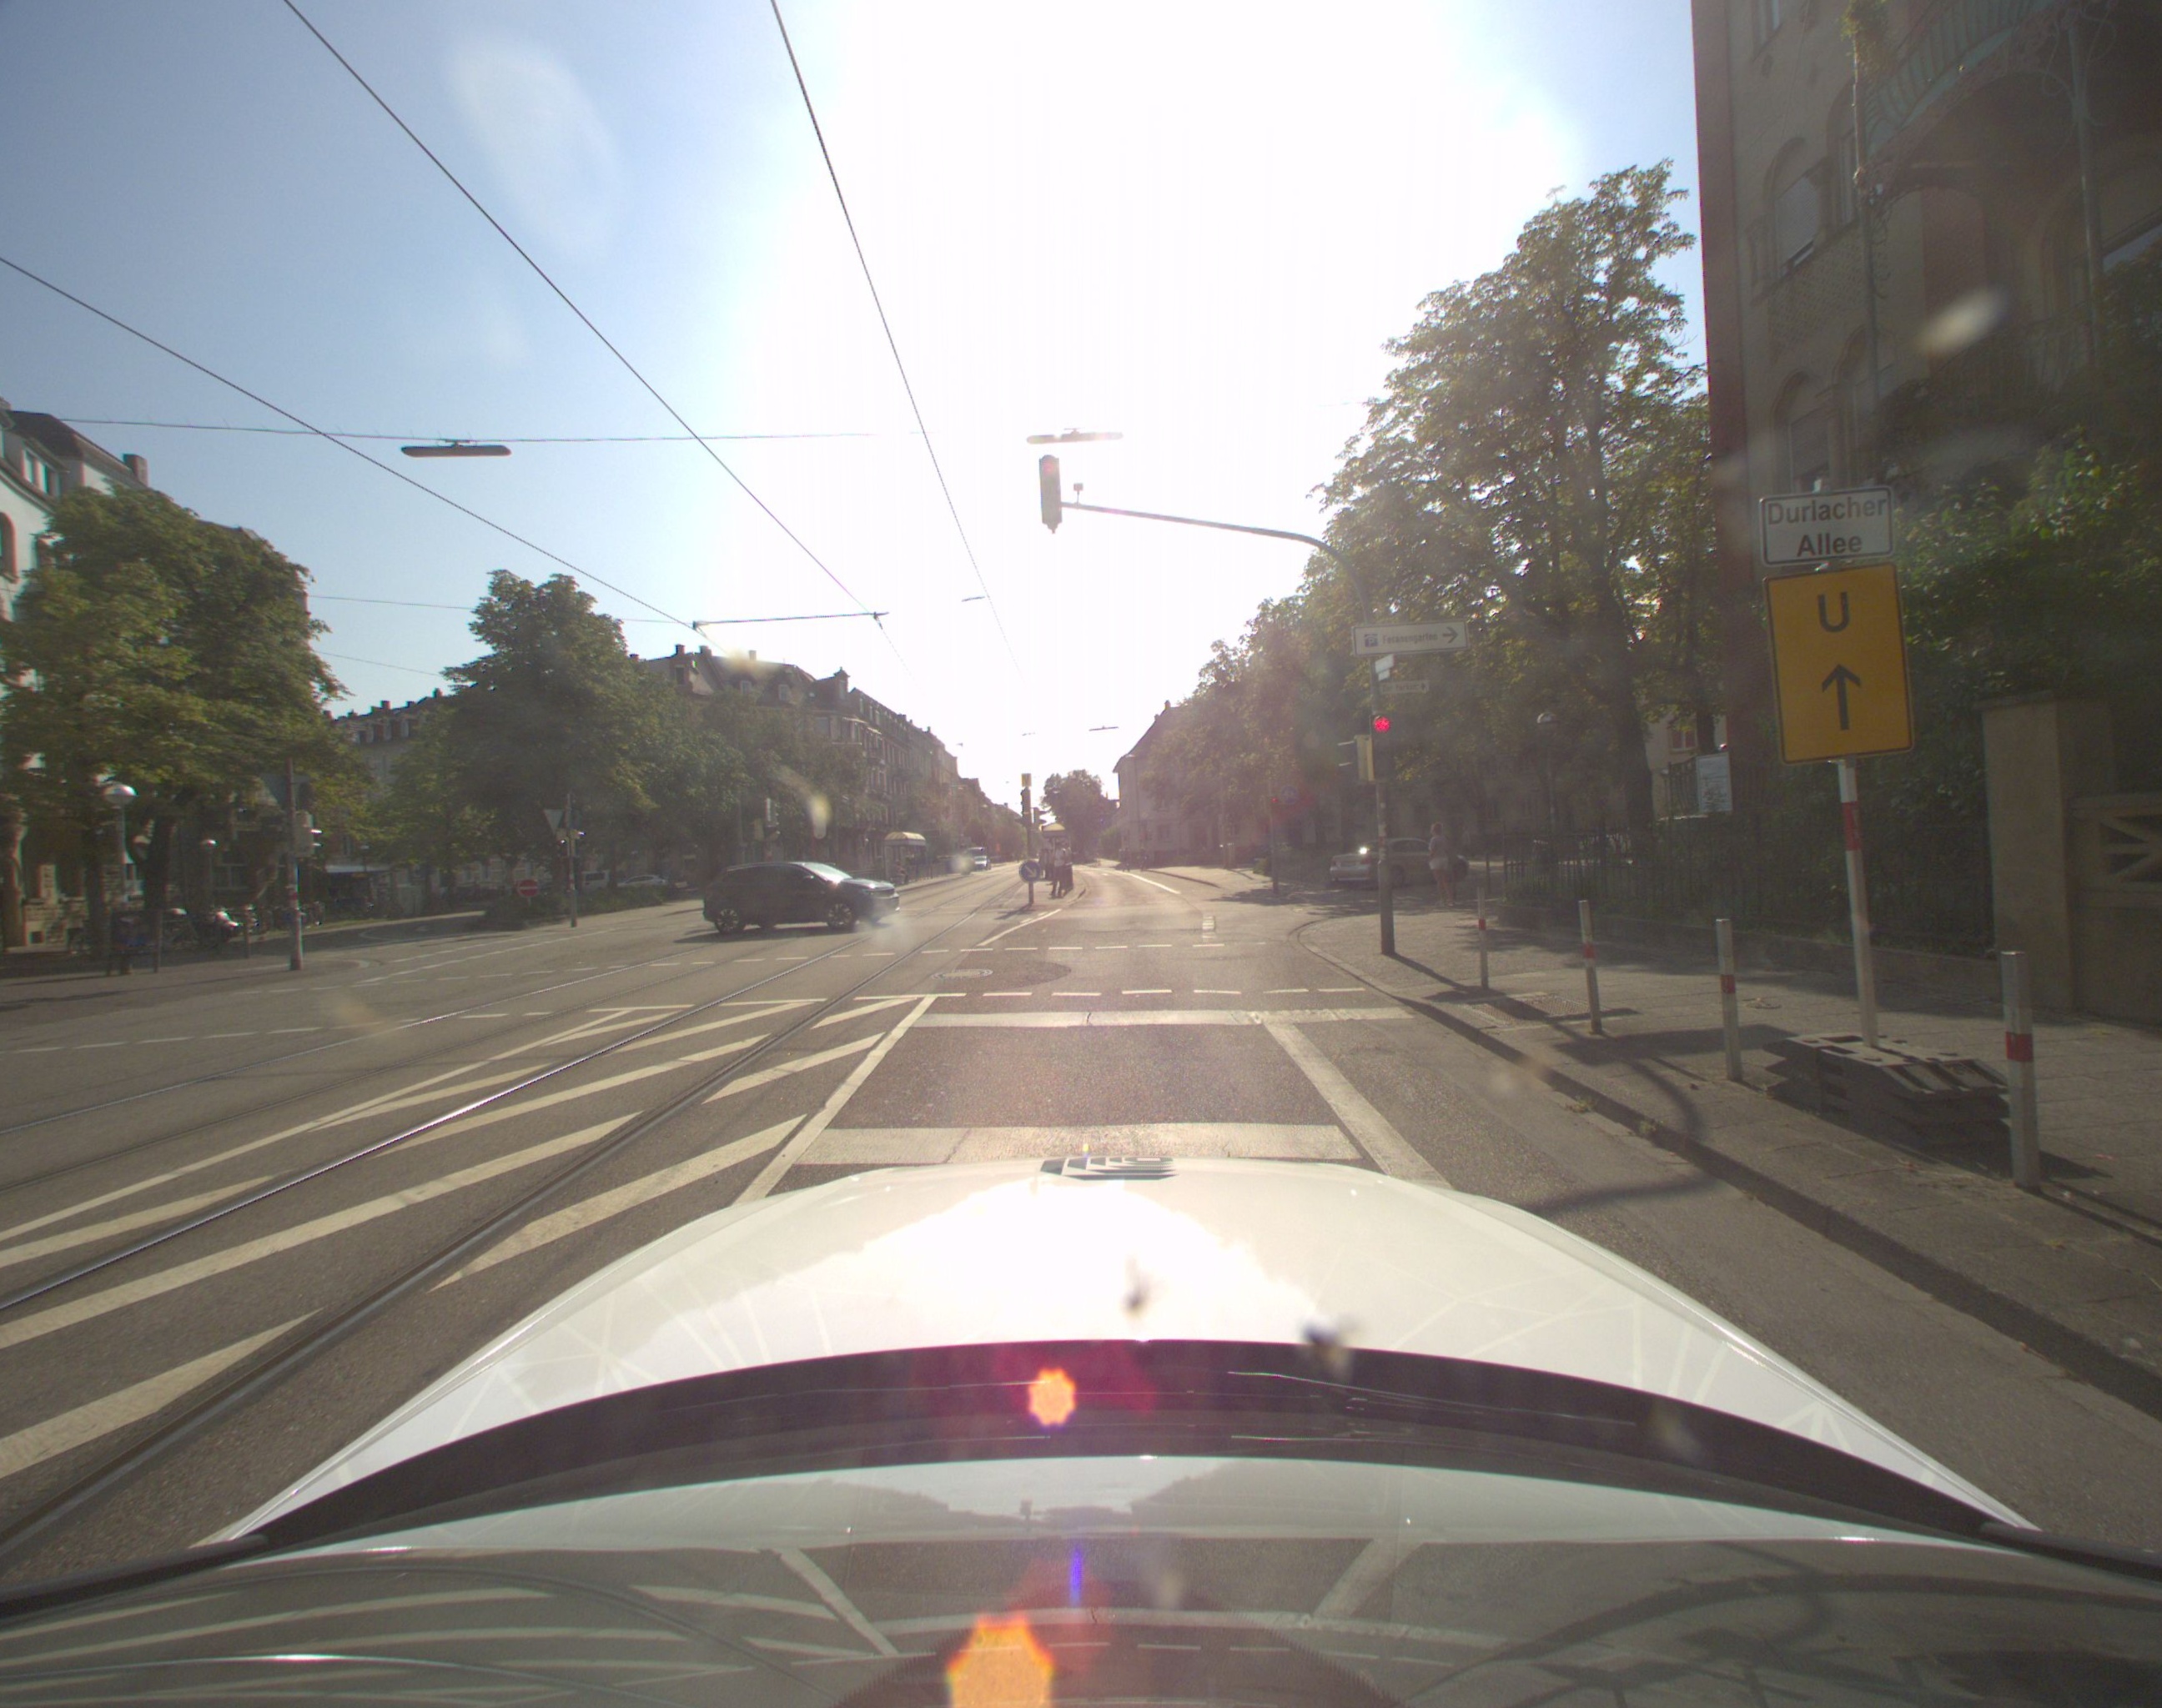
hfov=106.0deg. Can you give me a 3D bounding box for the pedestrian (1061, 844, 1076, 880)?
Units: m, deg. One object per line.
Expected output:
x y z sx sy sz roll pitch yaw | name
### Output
-0.630 0.399 40.611 0.707 1.759 0.534 -1 2 -1 | pedestrian

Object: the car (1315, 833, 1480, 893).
9.629 0.251 24.706 4.797 1.466 1.853 -3 -3 -27 | car

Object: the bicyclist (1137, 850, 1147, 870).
4.392 0.438 58.508 0.556 1.416 0.871 -3 0 -2 | bicyclist

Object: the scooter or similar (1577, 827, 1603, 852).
26.235 -0.739 41.986 1.059 1.197 0.463 -6 -1 31 | scooter or similar

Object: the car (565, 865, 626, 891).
-37.961 1.888 63.678 3.953 1.828 2.010 -3 0 20 | car

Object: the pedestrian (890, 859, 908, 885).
-9.808 0.982 43.917 0.826 1.359 0.775 -3 0 -5 | pedestrian

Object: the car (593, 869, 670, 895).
-32.277 2.025 58.603 4.318 1.569 1.995 -3 0 -7 | car

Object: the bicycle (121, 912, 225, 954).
-25.569 2.199 22.957 0.562 1.003 1.890 -3 -1 35 | bicycle

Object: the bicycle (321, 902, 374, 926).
-35.729 2.909 39.699 1.773 0.978 0.600 -3 0 -24 | bicycle

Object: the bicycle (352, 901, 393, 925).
-34.494 2.868 39.662 0.423 0.978 1.769 -3 0 -1 | bicycle

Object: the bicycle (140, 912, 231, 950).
-27.531 2.343 25.079 1.815 0.984 0.563 -2 -1 -42 | bicycle

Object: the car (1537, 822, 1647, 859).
22.281 -0.552 35.708 1.753 1.428 4.132 -3 0 -10 | car

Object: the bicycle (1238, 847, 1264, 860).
13.706 -0.020 65.770 1.918 0.978 0.499 -3 0 28 | bicycle

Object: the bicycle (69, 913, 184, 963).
-25.389 2.219 21.718 0.563 1.113 1.888 -3 -1 20 | bicycle

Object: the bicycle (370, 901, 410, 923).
-34.131 2.856 40.256 0.423 0.978 1.769 -3 0 -1 | bicycle

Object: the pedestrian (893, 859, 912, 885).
-9.841 0.985 44.893 0.826 1.359 0.775 -3 0 -5 | pedestrian

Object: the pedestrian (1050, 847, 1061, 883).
-1.281 0.544 41.220 0.541 1.759 0.534 -1 2 -1 | pedestrian

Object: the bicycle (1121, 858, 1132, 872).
3.301 0.801 59.122 0.627 0.978 1.769 -3 0 -2 | bicycle

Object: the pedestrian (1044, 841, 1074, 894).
-0.754 0.440 27.445 0.693 1.725 0.753 1 3 32 | pedestrian

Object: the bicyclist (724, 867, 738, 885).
-26.494 1.640 61.588 0.825 1.328 0.542 -3 0 -35 | bicyclist

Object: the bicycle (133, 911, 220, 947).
-29.271 2.412 26.399 1.815 0.977 0.652 -2 -1 -42 | bicycle

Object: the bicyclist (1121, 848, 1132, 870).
3.284 0.368 59.120 0.627 1.507 0.678 -3 0 -3 | bicyclist

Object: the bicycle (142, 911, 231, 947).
-28.404 2.364 25.900 1.815 0.983 0.652 -2 -1 -42 | bicycle

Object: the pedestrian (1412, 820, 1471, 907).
7.494 0.185 16.972 0.750 1.731 0.769 -3 0 -10 | pedestrian

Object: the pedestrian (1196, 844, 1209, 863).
11.208 -0.029 75.235 0.883 1.740 0.781 -3 0 28 | pedestrian

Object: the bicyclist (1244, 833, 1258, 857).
13.726 -0.728 65.745 0.977 1.857 0.496 -3 0 28 | bicyclist

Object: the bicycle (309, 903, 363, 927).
-35.587 2.909 38.925 1.772 0.978 0.516 -3 0 -23 | bicycle

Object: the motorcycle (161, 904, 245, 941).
-30.851 2.395 28.658 1.883 1.154 0.601 -2 -1 -35 | motorcycle

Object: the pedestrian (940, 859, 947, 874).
-16.077 1.478 95.278 0.750 1.731 0.769 -3 0 -10 | pedestrian

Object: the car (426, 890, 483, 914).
-53.581 4.109 69.663 3.953 1.828 2.010 -3 0 20 | car

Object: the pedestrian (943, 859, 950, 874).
-16.286 1.518 98.789 0.750 1.731 0.769 -3 0 -10 | pedestrian

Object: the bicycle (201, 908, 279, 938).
-31.779 2.590 30.814 1.920 0.935 0.730 -2 -1 -35 | bicycle

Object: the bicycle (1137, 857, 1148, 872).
4.416 0.746 58.494 0.556 0.978 1.855 -3 0 -2 | bicycle

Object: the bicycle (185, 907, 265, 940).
-31.168 2.508 29.704 1.886 1.027 0.657 -2 -1 -35 | bicycle

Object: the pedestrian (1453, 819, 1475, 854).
19.957 -0.897 42.483 0.884 1.740 0.780 -3 0 19 | pedestrian

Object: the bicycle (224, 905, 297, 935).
-32.407 2.598 32.205 1.909 0.980 0.679 -2 -1 -35 | bicycle

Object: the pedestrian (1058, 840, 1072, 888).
-0.626 0.387 31.712 0.502 1.833 0.534 -1 2 -1 | pedestrian

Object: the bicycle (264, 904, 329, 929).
-33.578 2.666 34.886 1.878 0.935 0.634 -3 -1 -19 | bicycle

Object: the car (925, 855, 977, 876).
-11.264 1.001 70.457 4.323 1.569 1.993 -3 0 -10 | car

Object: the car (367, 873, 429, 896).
-60.170 2.679 71.768 3.960 1.828 2.007 -3 0 12 | car

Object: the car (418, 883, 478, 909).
-51.552 3.425 66.339 3.953 1.828 2.010 -3 0 20 | car

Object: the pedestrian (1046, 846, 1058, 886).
-1.312 0.540 36.403 0.502 1.759 0.534 -1 2 -1 | pedestrian

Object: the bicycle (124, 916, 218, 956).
-24.502 2.187 21.958 0.473 0.920 1.619 -3 -1 29 | bicycle

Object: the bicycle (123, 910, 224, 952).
-26.650 2.248 23.963 1.888 1.034 0.563 -2 -1 -40 | bicycle

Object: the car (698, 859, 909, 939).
-6.293 1.002 18.680 4.190 1.515 1.616 -3 1 8 | car

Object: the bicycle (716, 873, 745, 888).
-26.487 2.009 61.577 1.865 0.958 0.542 -3 0 -36 | bicycle

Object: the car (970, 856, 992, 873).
-10.823 1.087 88.089 1.795 1.653 3.642 -3 0 0 | car

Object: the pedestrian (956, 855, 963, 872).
-13.221 1.017 88.567 0.750 1.731 0.769 -3 0 -10 | pedestrian

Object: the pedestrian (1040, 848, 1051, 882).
-1.851 0.566 42.629 0.530 1.759 0.545 -1 2 0 | pedestrian

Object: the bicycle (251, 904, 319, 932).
-32.775 2.612 33.560 1.909 0.980 0.679 -2 -1 -35 | bicycle

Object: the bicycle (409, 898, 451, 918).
-34.819 2.880 43.559 1.755 0.978 0.606 -3 0 6 | bicycle

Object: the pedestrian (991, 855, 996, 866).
-14.285 1.130 132.823 0.750 1.731 0.769 -3 0 -10 | pedestrian

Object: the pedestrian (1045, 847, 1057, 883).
-1.484 0.557 40.408 0.541 1.759 0.534 -1 2 -1 | pedestrian
